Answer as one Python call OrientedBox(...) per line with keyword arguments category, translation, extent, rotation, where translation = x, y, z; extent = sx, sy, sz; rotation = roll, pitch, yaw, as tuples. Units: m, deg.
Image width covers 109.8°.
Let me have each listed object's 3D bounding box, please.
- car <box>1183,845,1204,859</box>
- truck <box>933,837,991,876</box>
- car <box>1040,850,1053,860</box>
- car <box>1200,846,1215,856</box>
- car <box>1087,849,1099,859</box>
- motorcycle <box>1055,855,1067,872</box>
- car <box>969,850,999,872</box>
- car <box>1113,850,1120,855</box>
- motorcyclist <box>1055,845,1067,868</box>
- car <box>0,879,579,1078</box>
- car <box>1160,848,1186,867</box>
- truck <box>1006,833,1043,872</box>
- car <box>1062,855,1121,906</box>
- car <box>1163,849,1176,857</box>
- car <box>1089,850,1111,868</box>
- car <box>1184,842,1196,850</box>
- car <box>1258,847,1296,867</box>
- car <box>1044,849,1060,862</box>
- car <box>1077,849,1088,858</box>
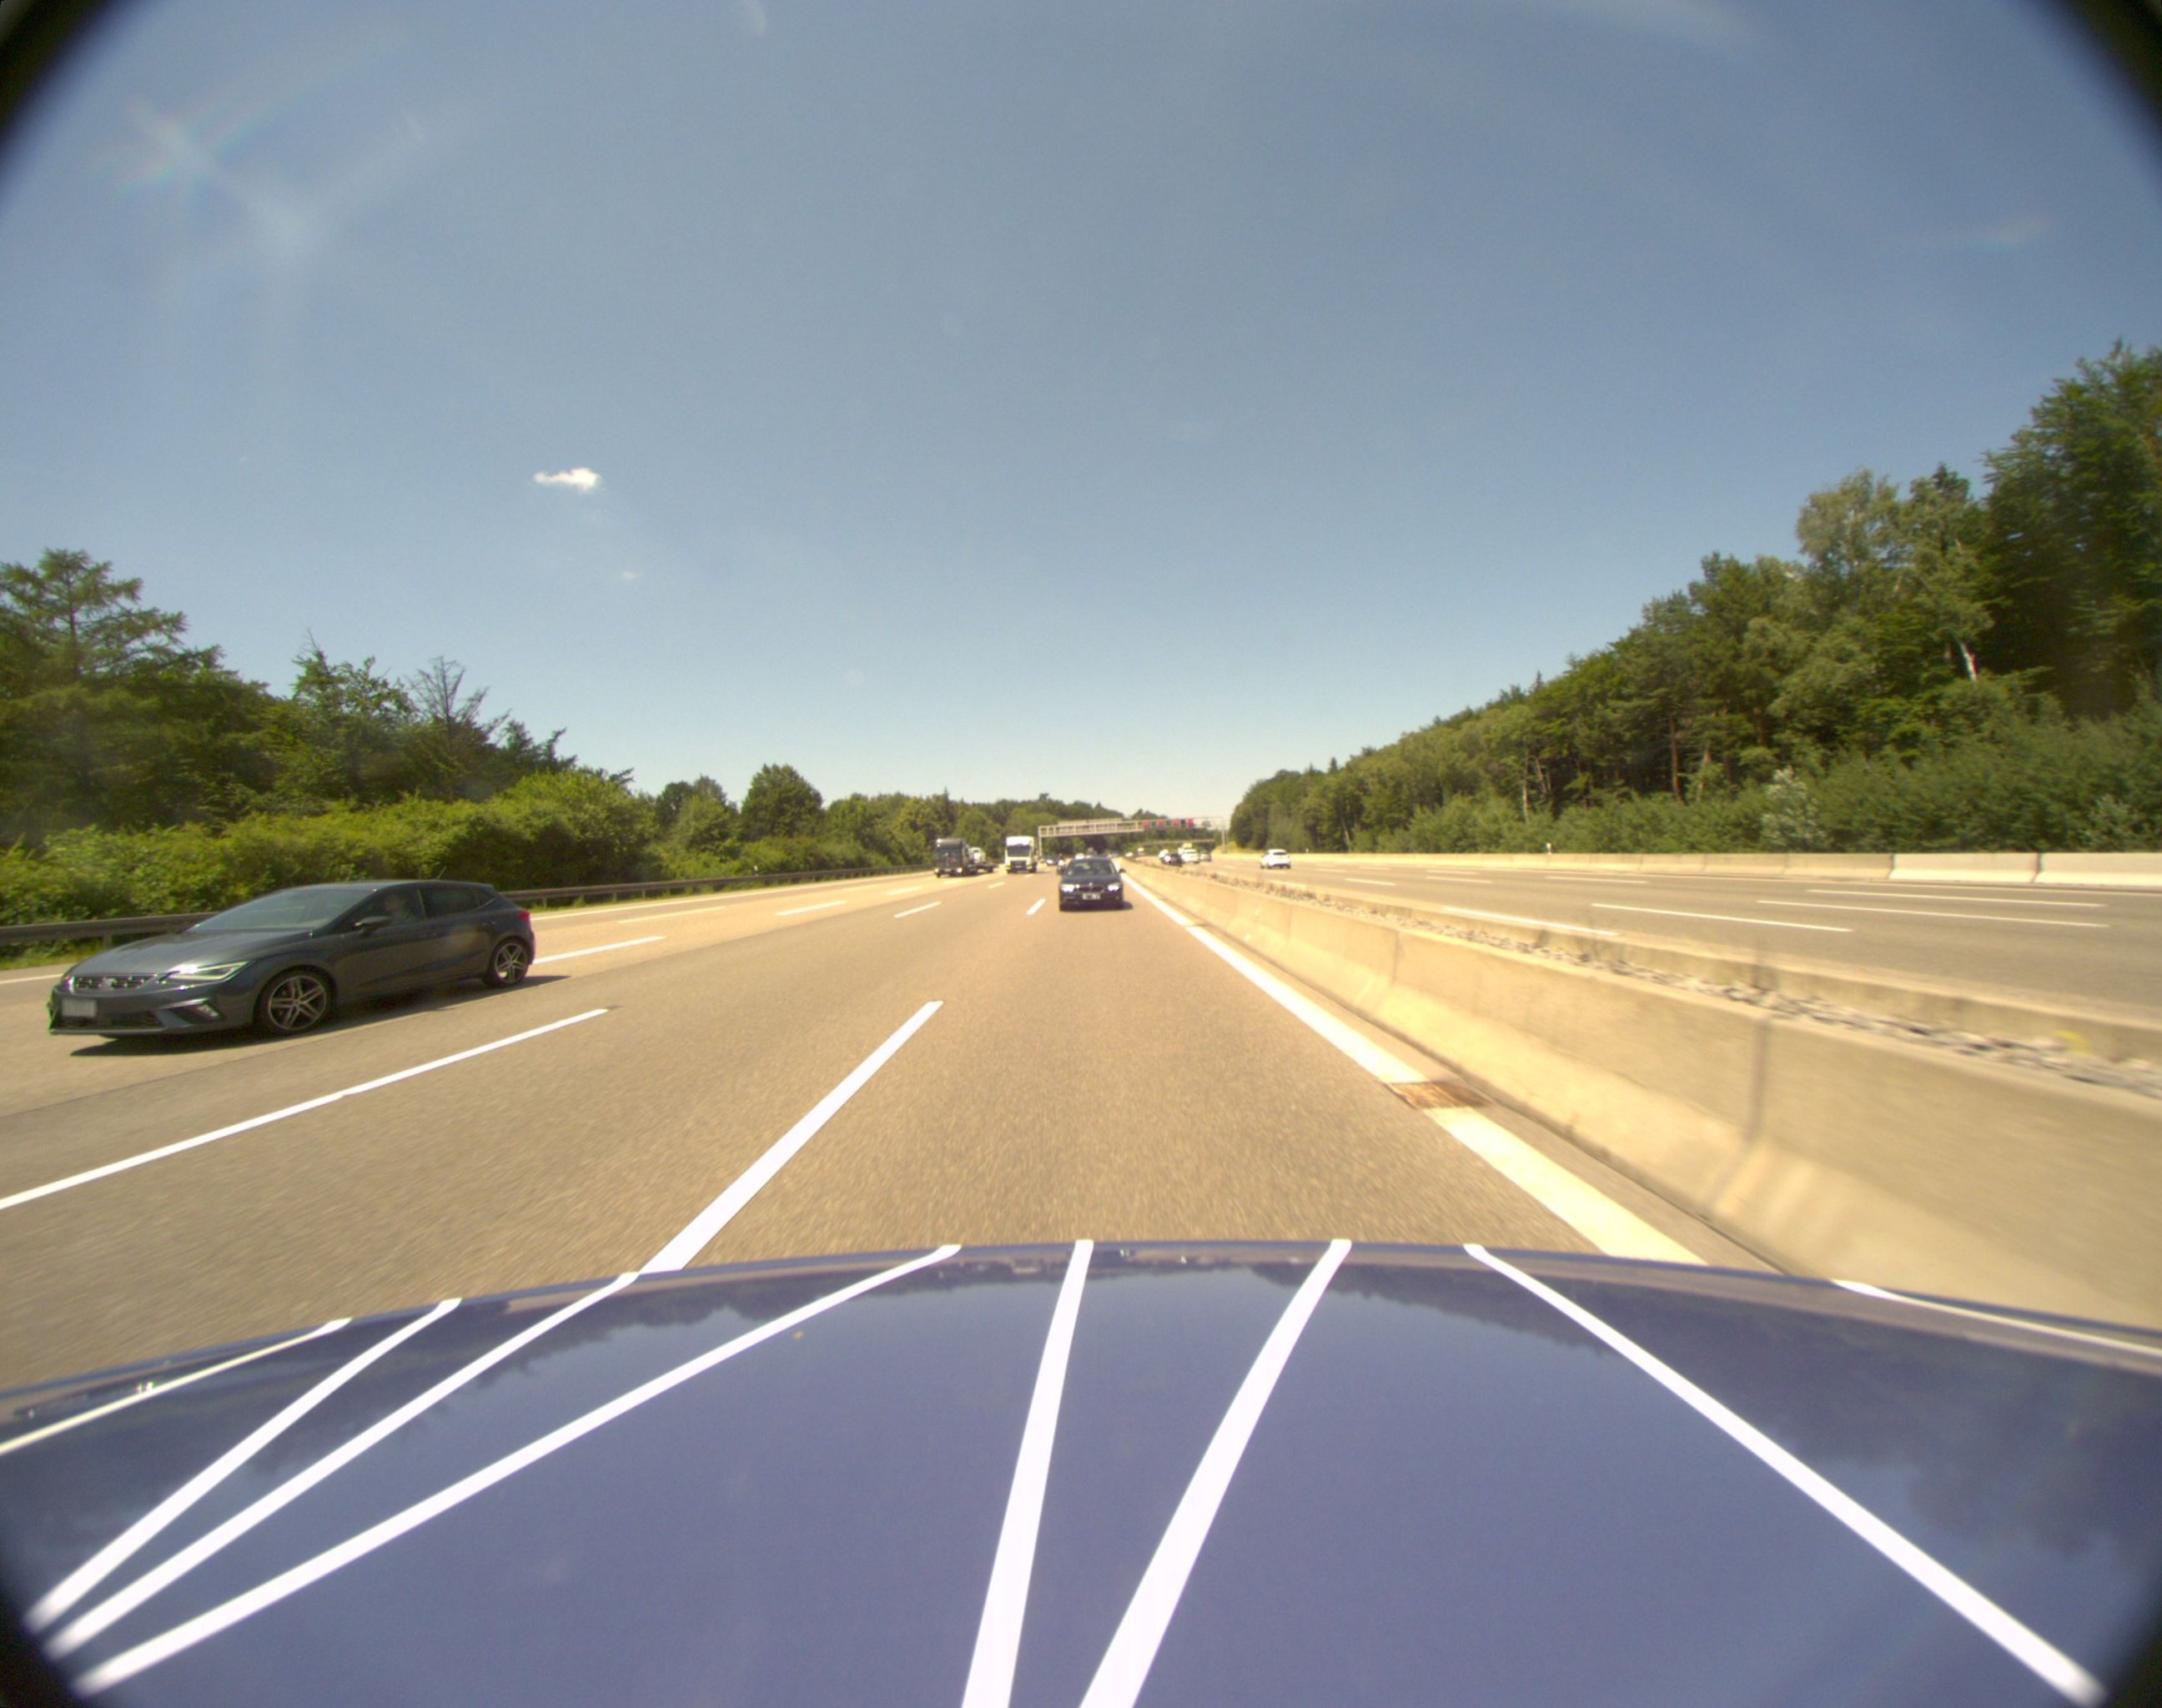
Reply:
OrientedBox(category="car", translation=(13.021, -0.265, 88.361), extent=(1.922, 1.477, 3.737), rotation=(-2, 1, 1))
OrientedBox(category="truck", translation=(-9.645, 0.147, 62.837), extent=(2.660, 2.839, 10.885), rotation=(-2, 1, 1))
OrientedBox(category="car", translation=(-6.048, 0.178, 132.941), extent=(1.998, 1.671, 4.127), rotation=(-2, 1, 1))
OrientedBox(category="car", translation=(18.081, -0.479, 109.040), extent=(1.649, 1.346, 2.907), rotation=(-2, 1, 1))
OrientedBox(category="car", translation=(2.225, 0.038, 140.766), extent=(1.998, 1.671, 4.127), rotation=(-2, 1, 1))
OrientedBox(category="motorcycle", translation=(-1.658, 0.764, 63.538), extent=(0.925, 1.311, 2.997), rotation=(-3, 1, -1))
OrientedBox(category="car", translation=(-9.106, 0.635, 71.724), extent=(1.998, 1.885, 4.870), rotation=(-2, 1, 2))
OrientedBox(category="car", translation=(10.737, -0.460, 229.469), extent=(1.910, 1.450, 4.128), rotation=(-2, 1, 4))
OrientedBox(category="motorcyclist", translation=(-1.680, 0.199, 63.280), extent=(0.914, 1.926, 0.905), rotation=(-2, 1, -1))
OrientedBox(category="car", translation=(-8.183, 1.119, 8.646), extent=(1.647, 1.430, 4.636), rotation=(-2, 0, 3))
OrientedBox(category="car", translation=(8.835, 0.302, 73.491), extent=(1.998, 1.636, 3.999), rotation=(-2, 1, 1))
OrientedBox(category="truck", translation=(-5.057, -0.175, 69.167), extent=(2.428, 3.237, 8.689), rotation=(-2, 1, 1))
OrientedBox(category="car", translation=(0.306, 0.819, 25.210), extent=(1.742, 1.450, 4.542), rotation=(-2, 0, 0))
OrientedBox(category="car", translation=(15.492, -0.211, 132.902), extent=(1.764, 1.346, 4.000), rotation=(-2, 1, 2))
OrientedBox(category="car", translation=(1.628, 0.390, 65.516), extent=(1.834, 1.454, 4.204), rotation=(-2, 1, 1))
OrientedBox(category="car", translation=(19.511, -1.417, 136.468), extent=(1.649, 1.346, 4.000), rotation=(-2, 1, 2))
OrientedBox(category="car", translation=(15.095, 0.180, 58.701), extent=(1.998, 1.392, 3.867), rotation=(-2, 1, 1))
OrientedBox(category="car", translation=(-3.982, 0.179, 104.534), extent=(1.998, 1.671, 4.126), rotation=(-2, 1, 1))
OrientedBox(category="car", translation=(0.298, -0.041, 154.497), extent=(1.998, 1.671, 4.127), rotation=(-2, 1, 1))
